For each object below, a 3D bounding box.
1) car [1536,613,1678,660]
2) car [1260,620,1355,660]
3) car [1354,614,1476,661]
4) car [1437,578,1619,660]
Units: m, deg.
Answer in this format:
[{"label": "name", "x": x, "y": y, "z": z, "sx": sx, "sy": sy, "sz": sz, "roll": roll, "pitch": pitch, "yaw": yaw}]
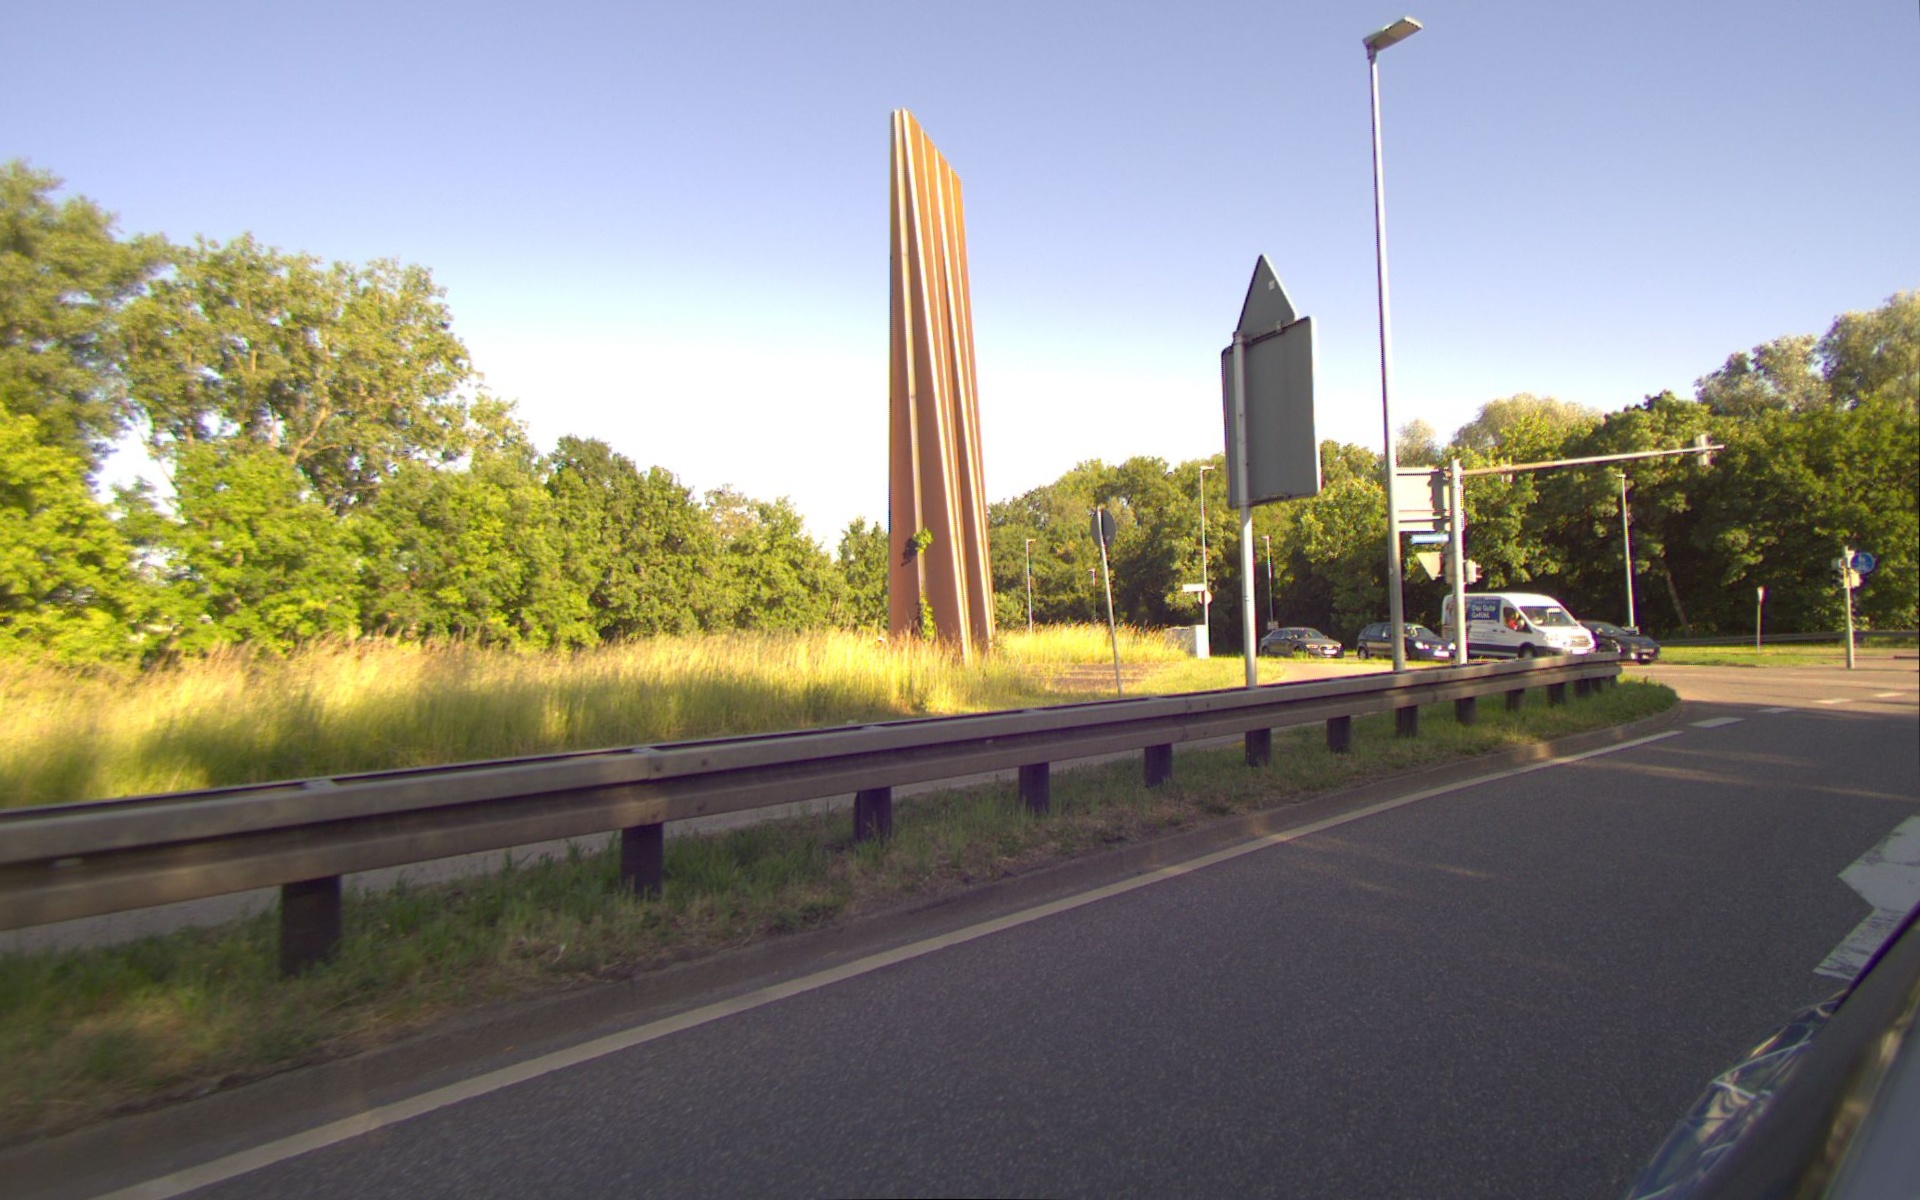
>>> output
[{"label": "car", "x": 22.213, "y": 1.203, "z": 34.941, "sx": 1.732, "sy": 1.458, "sz": 4.096, "roll": 0, "pitch": 0, "yaw": -12}, {"label": "car", "x": 13.876, "y": 1.563, "z": 40.698, "sx": 1.614, "sy": 1.408, "sz": 4.297, "roll": 0, "pitch": 0, "yaw": -12}, {"label": "car", "x": 15.307, "y": 1.213, "z": 34.282, "sx": 1.806, "sy": 1.432, "sz": 3.994, "roll": 0, "pitch": 0, "yaw": -10}, {"label": "car", "x": 18.896, "y": 0.679, "z": 34.098, "sx": 2.071, "sy": 2.532, "sz": 5.713, "roll": 0, "pitch": -2, "yaw": -11}]
